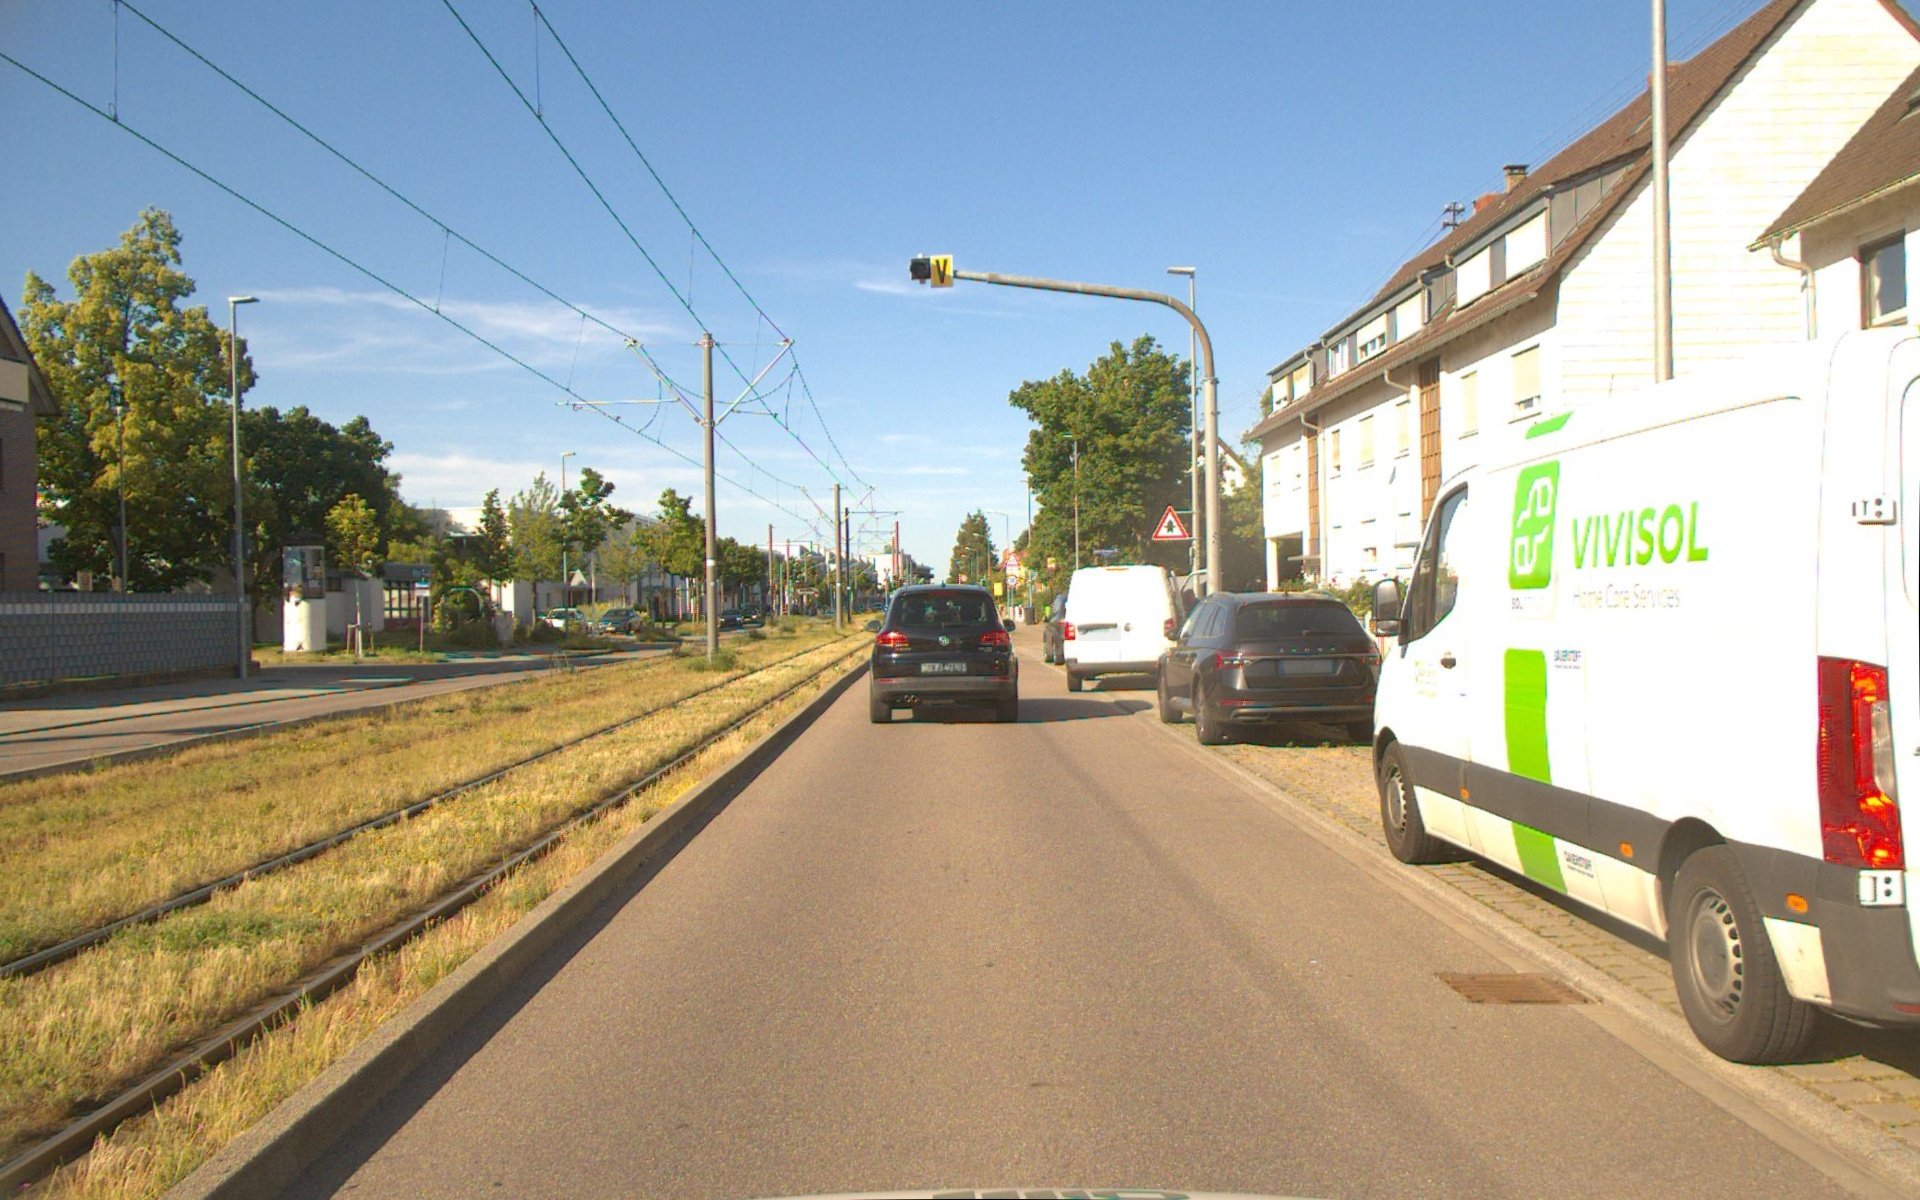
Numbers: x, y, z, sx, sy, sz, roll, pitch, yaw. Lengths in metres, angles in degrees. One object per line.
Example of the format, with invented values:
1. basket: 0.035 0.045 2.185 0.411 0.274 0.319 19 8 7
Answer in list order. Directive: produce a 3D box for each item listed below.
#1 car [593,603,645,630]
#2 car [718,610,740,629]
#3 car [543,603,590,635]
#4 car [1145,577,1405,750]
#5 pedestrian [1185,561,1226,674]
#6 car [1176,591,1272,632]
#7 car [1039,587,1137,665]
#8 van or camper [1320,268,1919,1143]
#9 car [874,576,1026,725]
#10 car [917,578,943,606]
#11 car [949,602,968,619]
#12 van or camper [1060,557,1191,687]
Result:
1. car: -19.183 0.910 93.187 1.772 1.486 4.319 0 0 3
2. car: -18.021 1.501 129.096 1.656 1.413 4.380 -3 0 -8
3. car: -18.983 0.902 79.902 1.513 1.517 3.773 0 0 -2
4. car: 3.202 0.601 17.869 1.713 1.520 5.154 -3 0 -1
5. pedestrian: 4.274 0.304 28.789 0.684 1.946 0.759 0 -1 8
6. car: 10.441 0.460 65.595 3.520 1.557 1.647 -1 -1 1
7. car: 2.991 0.575 39.514 1.755 1.657 4.859 -3 0 -2
8. van or camper: 3.386 0.252 7.553 1.953 2.310 6.303 -3 0 -1
9. car: -0.180 0.598 21.182 1.740 1.699 3.998 -1 0 -2
10. car: -2.861 -0.715 159.114 2.345 2.609 5.529 -1 0 0
11. car: -0.208 1.099 171.343 1.740 1.699 3.998 -1 0 -3
12. van or camper: 2.885 0.329 28.368 1.985 1.990 5.299 -1 0 7
